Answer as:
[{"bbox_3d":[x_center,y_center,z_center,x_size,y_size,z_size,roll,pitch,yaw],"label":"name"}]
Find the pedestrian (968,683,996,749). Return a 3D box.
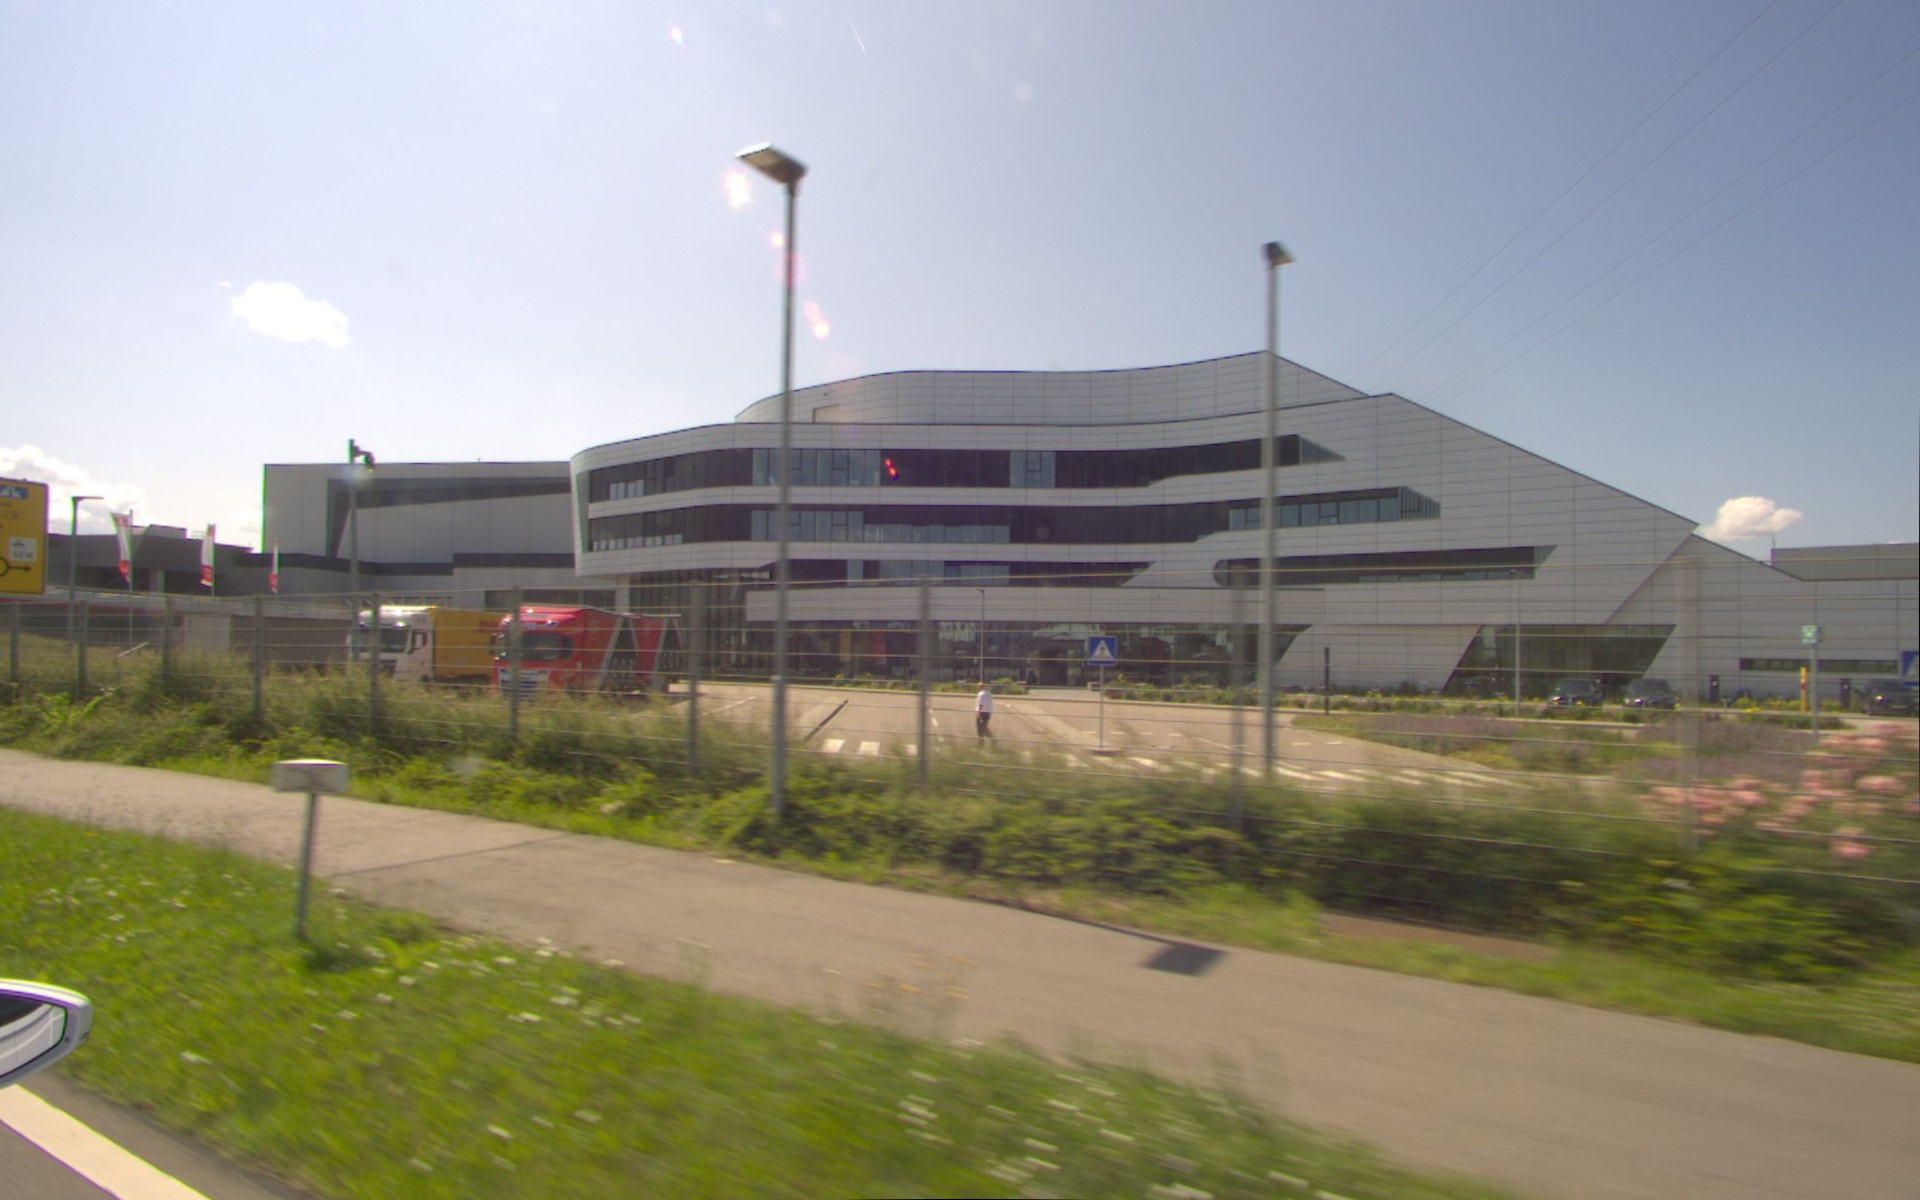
[{"bbox_3d":[0.584,3.052,26.395,0.566,1.673,0.482,0,-2,33],"label":"pedestrian"}]

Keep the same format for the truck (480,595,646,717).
[{"bbox_3d":[-15.717,2.142,40.811,2.970,4.310,10.977,0,-2,-3],"label":"truck"}]

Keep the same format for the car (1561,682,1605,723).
[{"bbox_3d":[26.598,4.341,42.722,1.452,1.553,3.041,-1,-3,35],"label":"car"}]

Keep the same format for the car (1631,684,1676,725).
[{"bbox_3d":[28.683,4.287,41.437,1.452,1.553,3.041,-1,-3,35],"label":"car"}]

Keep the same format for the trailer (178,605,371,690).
[{"bbox_3d":[-40.412,2.728,60.044,2.713,4.494,14.067,0,-2,-4],"label":"trailer"}]

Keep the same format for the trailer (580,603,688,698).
[{"bbox_3d":[-16.241,2.470,50.607,2.970,4.351,8.718,0,-2,-3],"label":"trailer"}]

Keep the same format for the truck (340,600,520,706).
[{"bbox_3d":[-23.507,2.282,45.361,2.768,4.225,10.978,0,-2,-3],"label":"truck"}]

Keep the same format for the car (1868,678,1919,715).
[{"bbox_3d":[42.229,4.334,45.198,1.452,1.553,3.041,-1,-3,35],"label":"car"}]
